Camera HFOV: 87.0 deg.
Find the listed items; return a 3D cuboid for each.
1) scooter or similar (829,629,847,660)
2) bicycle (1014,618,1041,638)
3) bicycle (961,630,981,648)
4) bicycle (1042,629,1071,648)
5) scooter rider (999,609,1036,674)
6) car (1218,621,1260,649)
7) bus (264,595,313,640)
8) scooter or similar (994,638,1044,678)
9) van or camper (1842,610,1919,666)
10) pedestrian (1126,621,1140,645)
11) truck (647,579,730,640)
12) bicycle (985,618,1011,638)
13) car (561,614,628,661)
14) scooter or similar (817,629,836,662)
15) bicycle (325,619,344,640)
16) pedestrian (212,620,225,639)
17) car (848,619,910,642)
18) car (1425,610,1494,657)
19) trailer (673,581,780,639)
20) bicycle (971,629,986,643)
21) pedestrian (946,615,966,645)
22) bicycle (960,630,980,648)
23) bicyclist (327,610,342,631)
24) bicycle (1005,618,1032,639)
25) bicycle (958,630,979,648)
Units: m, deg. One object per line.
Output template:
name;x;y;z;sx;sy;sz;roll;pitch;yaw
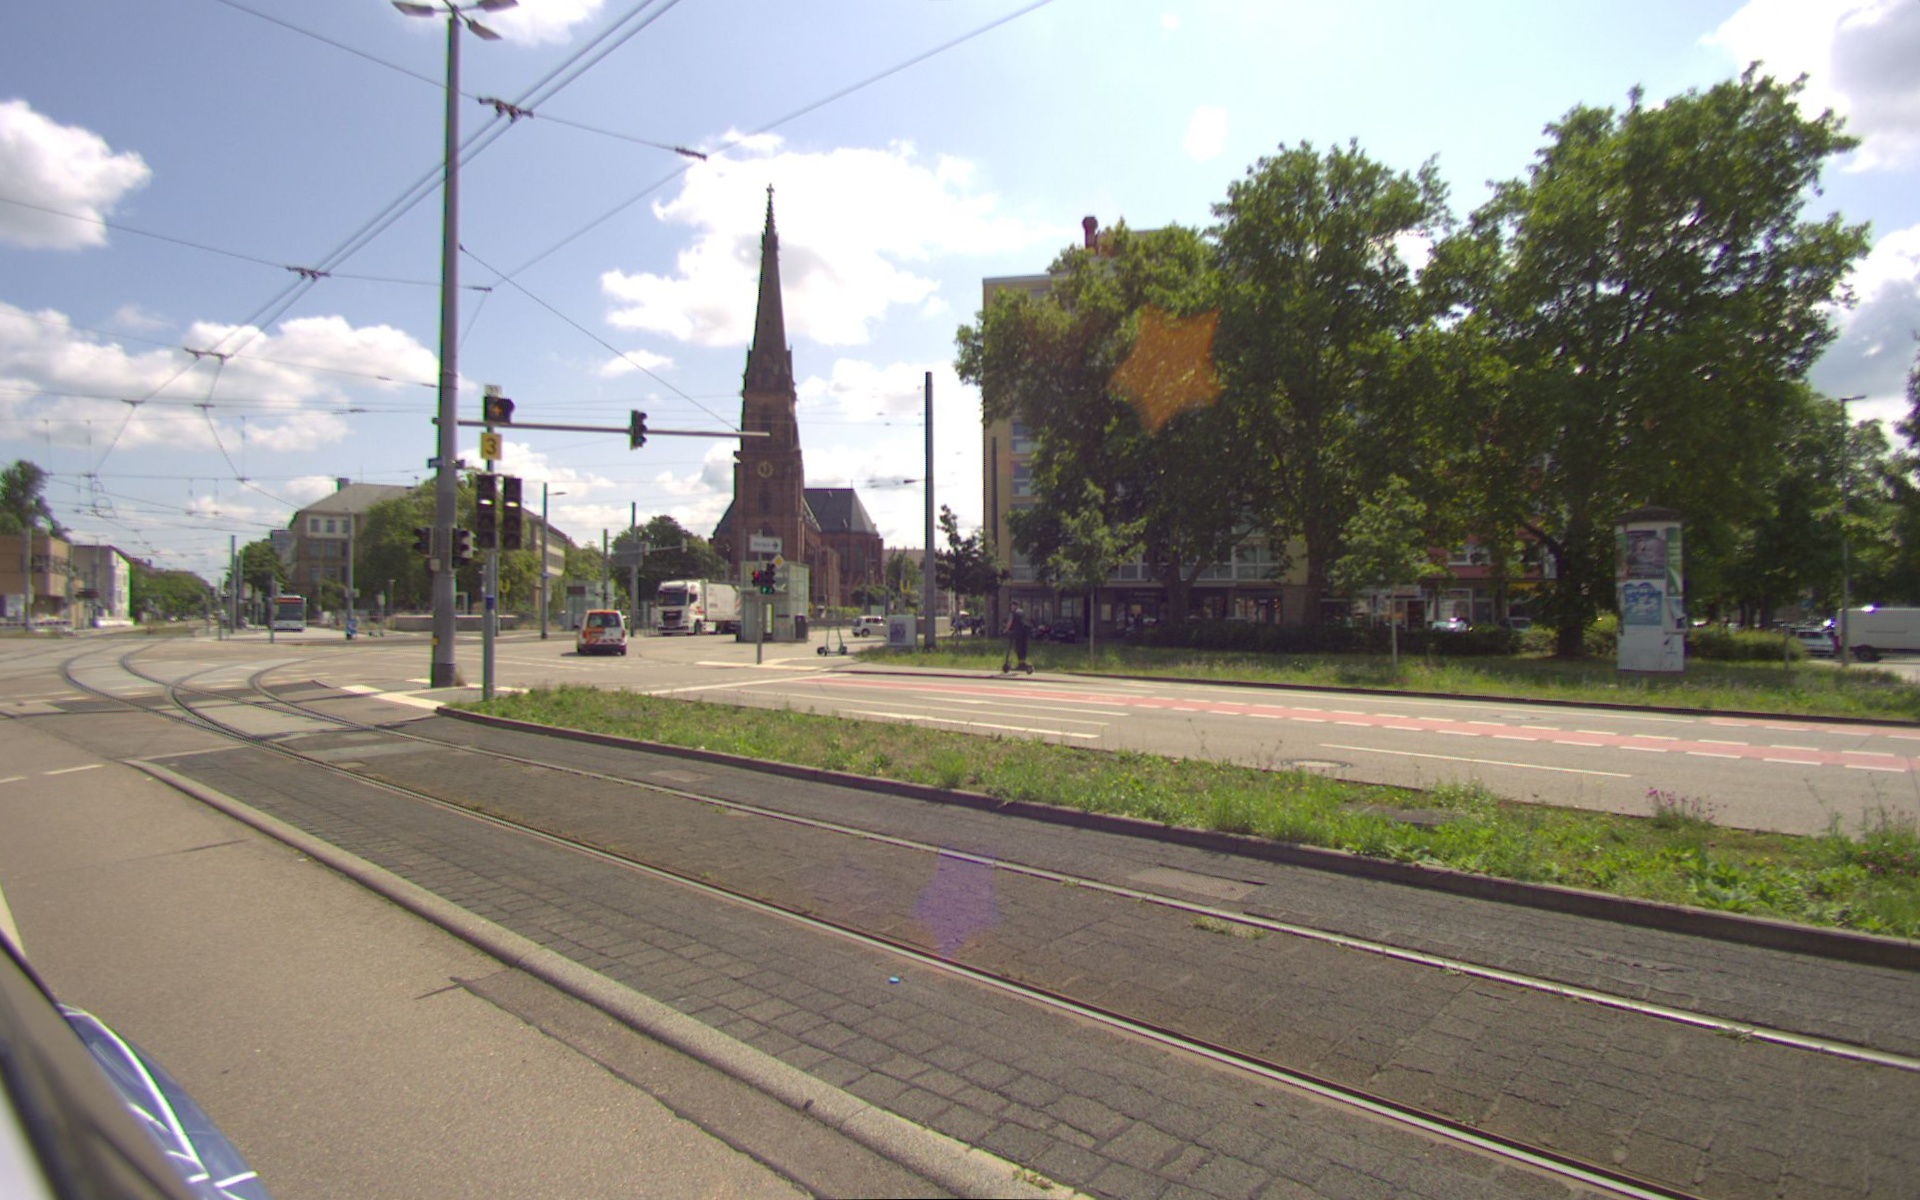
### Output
scooter or similar;-4.558;1.658;37.918;0.556;1.133;0.411;-1;-2;42
bicycle;4.000;1.671;60.101;1.586;1.176;0.491;-1;-1;12
bicycle;0.713;2.503;65.701;1.259;1.154;0.458;-1;-2;8
bicycle;5.378;2.144;56.591;1.586;1.074;0.491;-1;-1;12
scooter rider;1.552;1.097;27.199;0.649;1.720;0.768;-1;-2;42
car;15.618;1.944;56.864;1.859;1.522;3.919;-1;-2;10
bus;-54.404;1.447;81.895;2.904;3.474;7.965;1;-2;-36
scooter or similar;1.578;1.543;27.158;1.092;1.040;0.795;-1;-2;42
van or camper;45.098;1.743;46.390;2.539;2.518;6.694;1;-1;-40
pedestrian;9.862;1.887;57.797;0.751;1.336;0.561;0;-1;7
truck;-19.162;0.725;71.947;2.933;4.150;6.853;0;-1;12
bicycle;2.417;1.775;63.880;1.586;1.274;0.491;-1;-1;12
car;-14.749;1.494;40.676;1.741;1.779;4.254;2;-2;-31
scooter or similar;-4.919;1.659;37.388;0.549;1.209;0.456;-1;-2;42
bicycle;-62.815;2.925;101.559;1.228;2.029;3.491;1;-2;-38
pedestrian;-72.113;2.860;98.403;0.897;1.837;1.023;3;-2;-39
car;-5.735;2.157;71.913;4.101;1.655;1.634;1;-2;-29
car;22.604;1.513;45.940;1.981;2.029;3.981;0;-1;14
trailer;-17.829;0.846;78.663;2.918;4.107;13.370;0;-1;11
bicycle;1.294;2.556;71.696;1.053;0.945;0.377;-1;-2;8
pedestrian;-0.231;1.631;54.712;0.873;1.572;0.719;-1;-2;20
bicycle;0.624;2.485;64.960;1.259;1.154;0.458;-1;-2;8
bicyclist;-62.709;2.076;101.483;1.108;2.029;1.322;3;-2;-38
bicycle;3.522;1.703;61.170;1.586;1.274;0.491;-1;-1;12
bicycle;0.529;2.466;64.391;1.259;1.154;0.458;-1;-2;8
